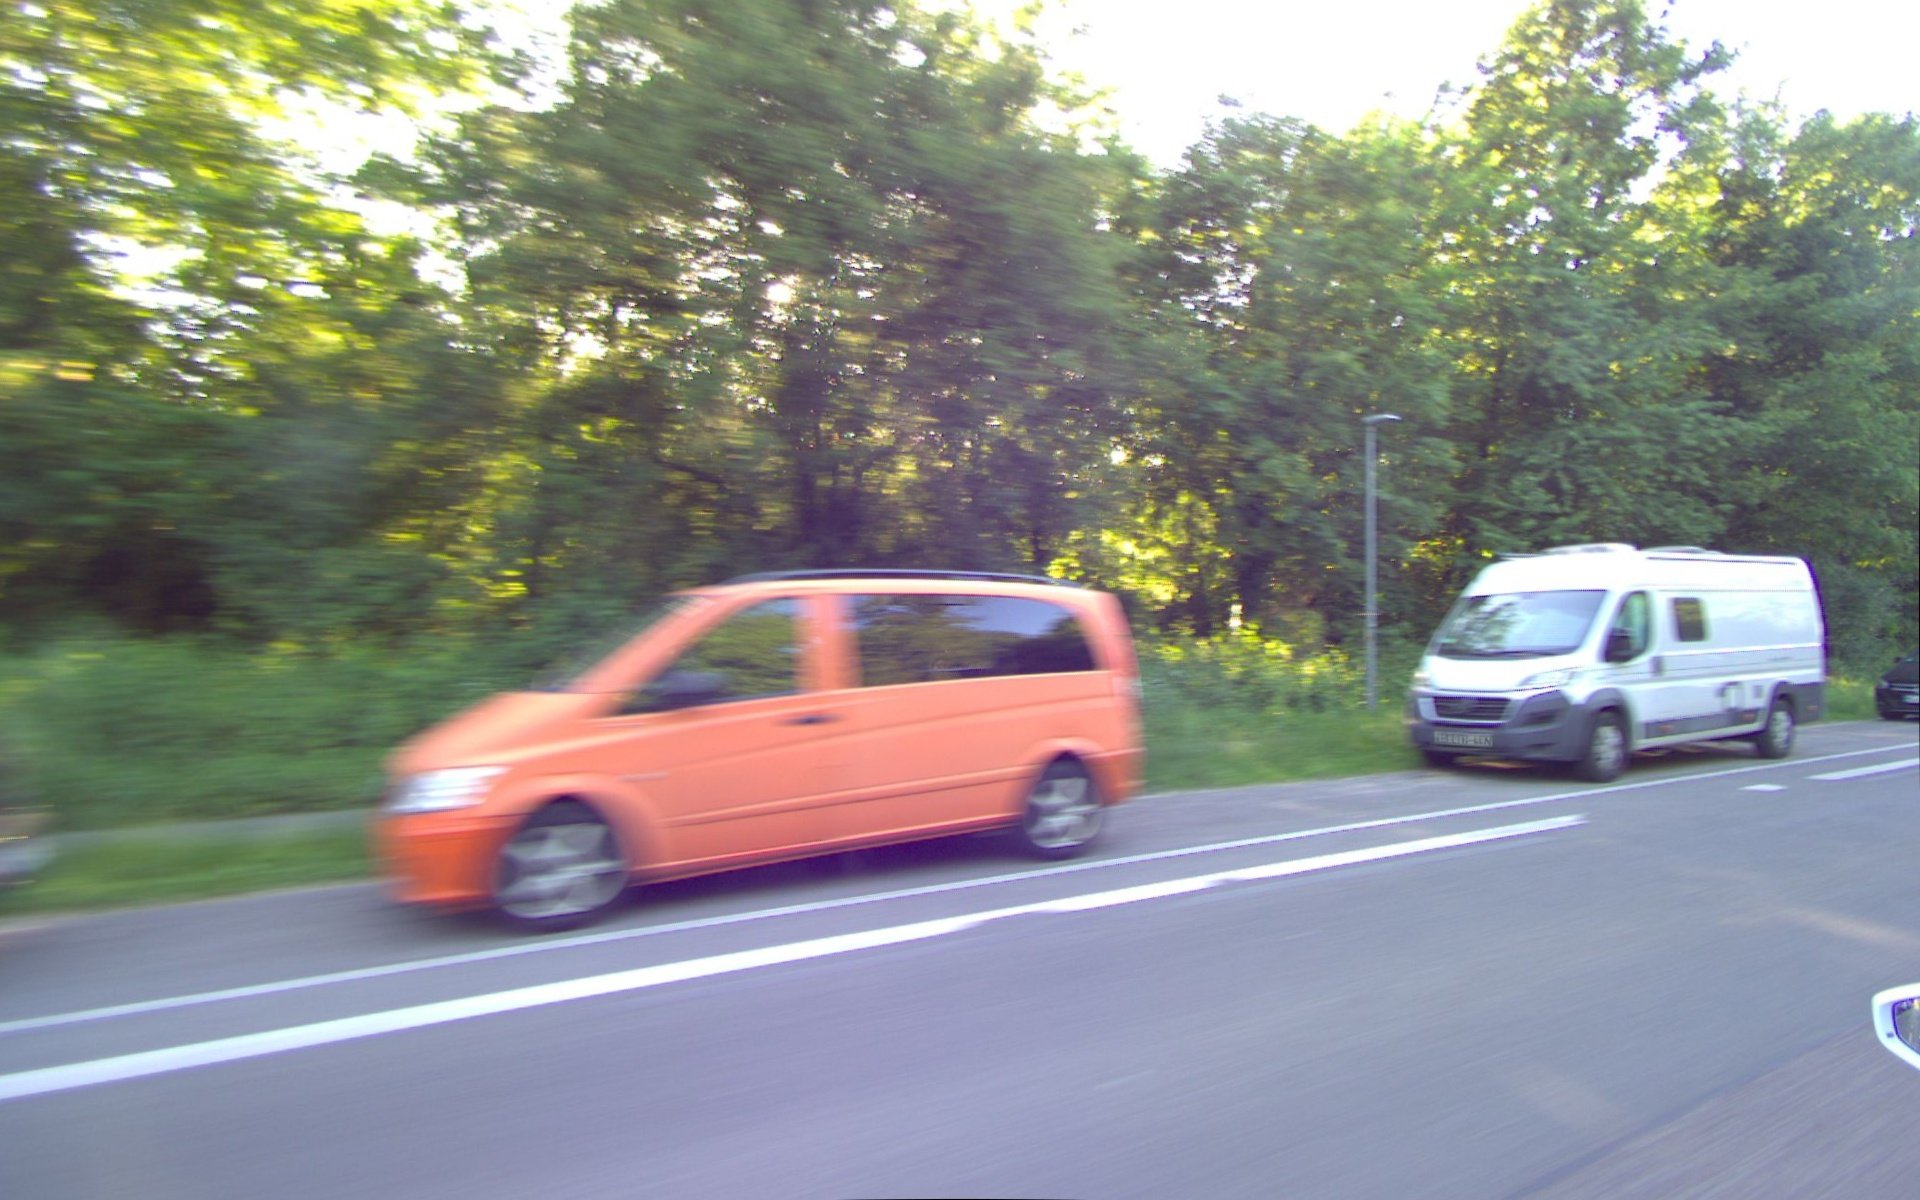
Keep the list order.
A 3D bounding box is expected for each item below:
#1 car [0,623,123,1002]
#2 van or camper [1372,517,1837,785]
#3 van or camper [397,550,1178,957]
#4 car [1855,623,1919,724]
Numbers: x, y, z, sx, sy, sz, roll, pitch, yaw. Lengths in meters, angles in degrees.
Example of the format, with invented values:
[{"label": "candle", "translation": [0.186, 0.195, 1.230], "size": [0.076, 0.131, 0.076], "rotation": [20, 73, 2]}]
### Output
[{"label": "car", "translation": [-6.031, 0.844, 3.682], "size": [4.273, 1.497, 1.724], "rotation": [1, -3, -30]}, {"label": "van or camper", "translation": [8.060, 0.561, 12.313], "size": [6.465, 2.606, 2.111], "rotation": [1, -1, -30]}, {"label": "van or camper", "translation": [-1.010, 0.783, 6.731], "size": [4.805, 1.891, 1.914], "rotation": [1, -3, -30]}, {"label": "car", "translation": [18.219, 1.289, 18.165], "size": [4.326, 1.706, 1.773], "rotation": [1, -2, -30]}]
